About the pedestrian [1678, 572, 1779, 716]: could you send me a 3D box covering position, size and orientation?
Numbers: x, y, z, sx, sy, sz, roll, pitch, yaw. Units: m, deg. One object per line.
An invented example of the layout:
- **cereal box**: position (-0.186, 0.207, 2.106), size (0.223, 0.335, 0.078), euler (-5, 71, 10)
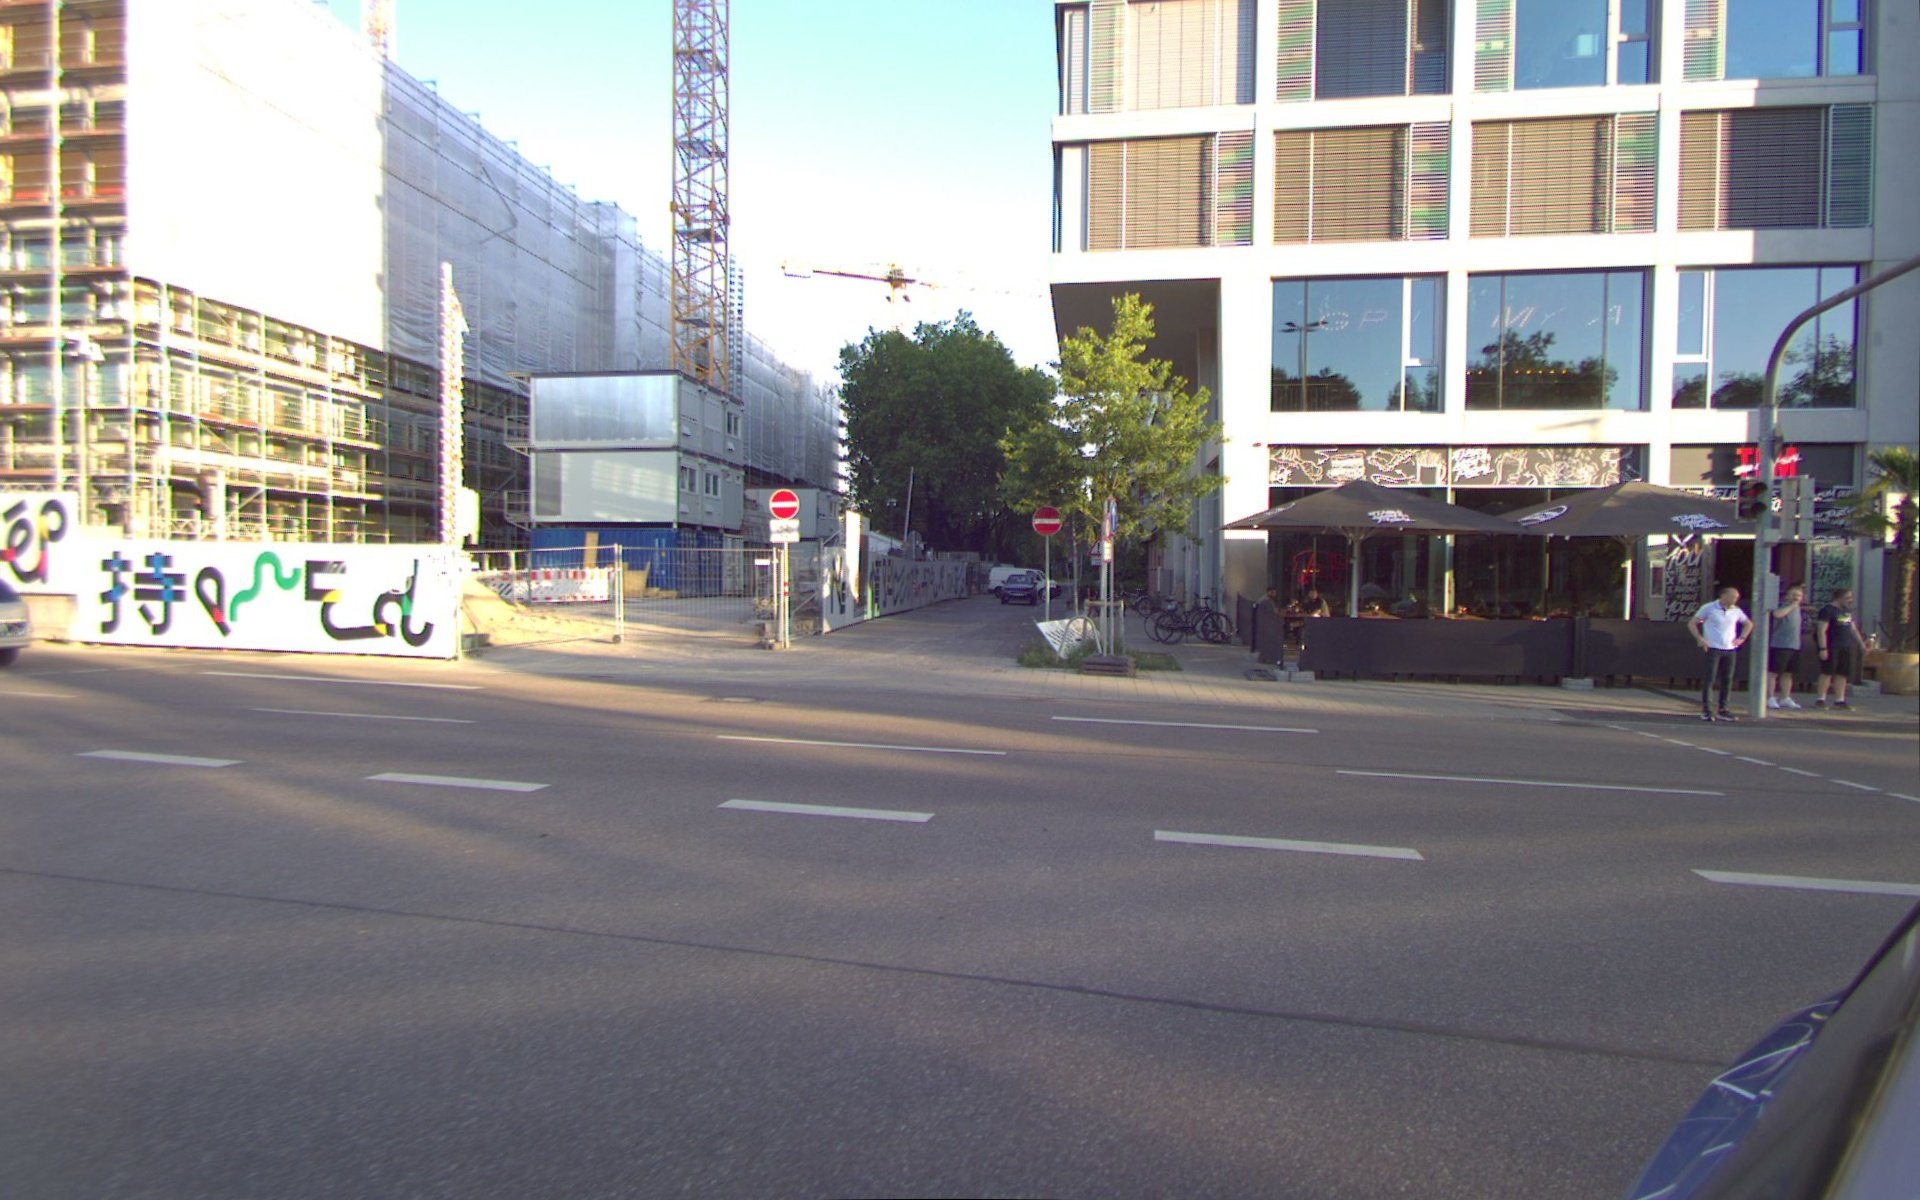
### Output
- **pedestrian**: position (10.385, 0.577, 13.705), size (0.749, 1.857, 0.708), euler (1, 4, 6)

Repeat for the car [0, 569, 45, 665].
- **car**: position (-16.766, 0.220, 15.887), size (4.010, 1.473, 1.661), euler (1, 0, 15)

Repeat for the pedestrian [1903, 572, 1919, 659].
- **pedestrian**: position (18.401, 0.307, 19.007), size (0.698, 1.623, 0.678), euler (1, 3, 15)

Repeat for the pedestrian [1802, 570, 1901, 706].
- **pedestrian**: position (12.814, 0.521, 14.567), size (0.669, 1.857, 0.708), euler (2, 4, 6)

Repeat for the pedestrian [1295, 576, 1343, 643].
- **pedestrian**: position (7.759, 0.197, 21.906), size (0.757, 1.432, 0.607), euler (0, 1, -8)

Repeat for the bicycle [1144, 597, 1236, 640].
- **bicycle**: position (5.102, 0.410, 22.496), size (1.944, 0.884, 0.394), euler (-1, 3, 7)

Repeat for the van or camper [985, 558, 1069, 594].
- **van or camper**: position (4.348, -1.526, 65.253), size (4.896, 2.149, 2.474), euler (-1, 1, 22)

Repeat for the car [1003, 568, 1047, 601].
- **car**: position (3.435, -0.863, 52.701), size (1.976, 1.617, 3.699), euler (1, 2, 8)

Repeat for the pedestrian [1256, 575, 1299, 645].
- **pedestrian**: position (6.820, 0.207, 21.748), size (0.759, 1.480, 0.605), euler (1, 1, 8)

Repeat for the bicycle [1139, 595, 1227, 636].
- **bicycle**: position (5.150, 0.359, 23.395), size (1.944, 0.884, 0.394), euler (-1, 3, 7)
